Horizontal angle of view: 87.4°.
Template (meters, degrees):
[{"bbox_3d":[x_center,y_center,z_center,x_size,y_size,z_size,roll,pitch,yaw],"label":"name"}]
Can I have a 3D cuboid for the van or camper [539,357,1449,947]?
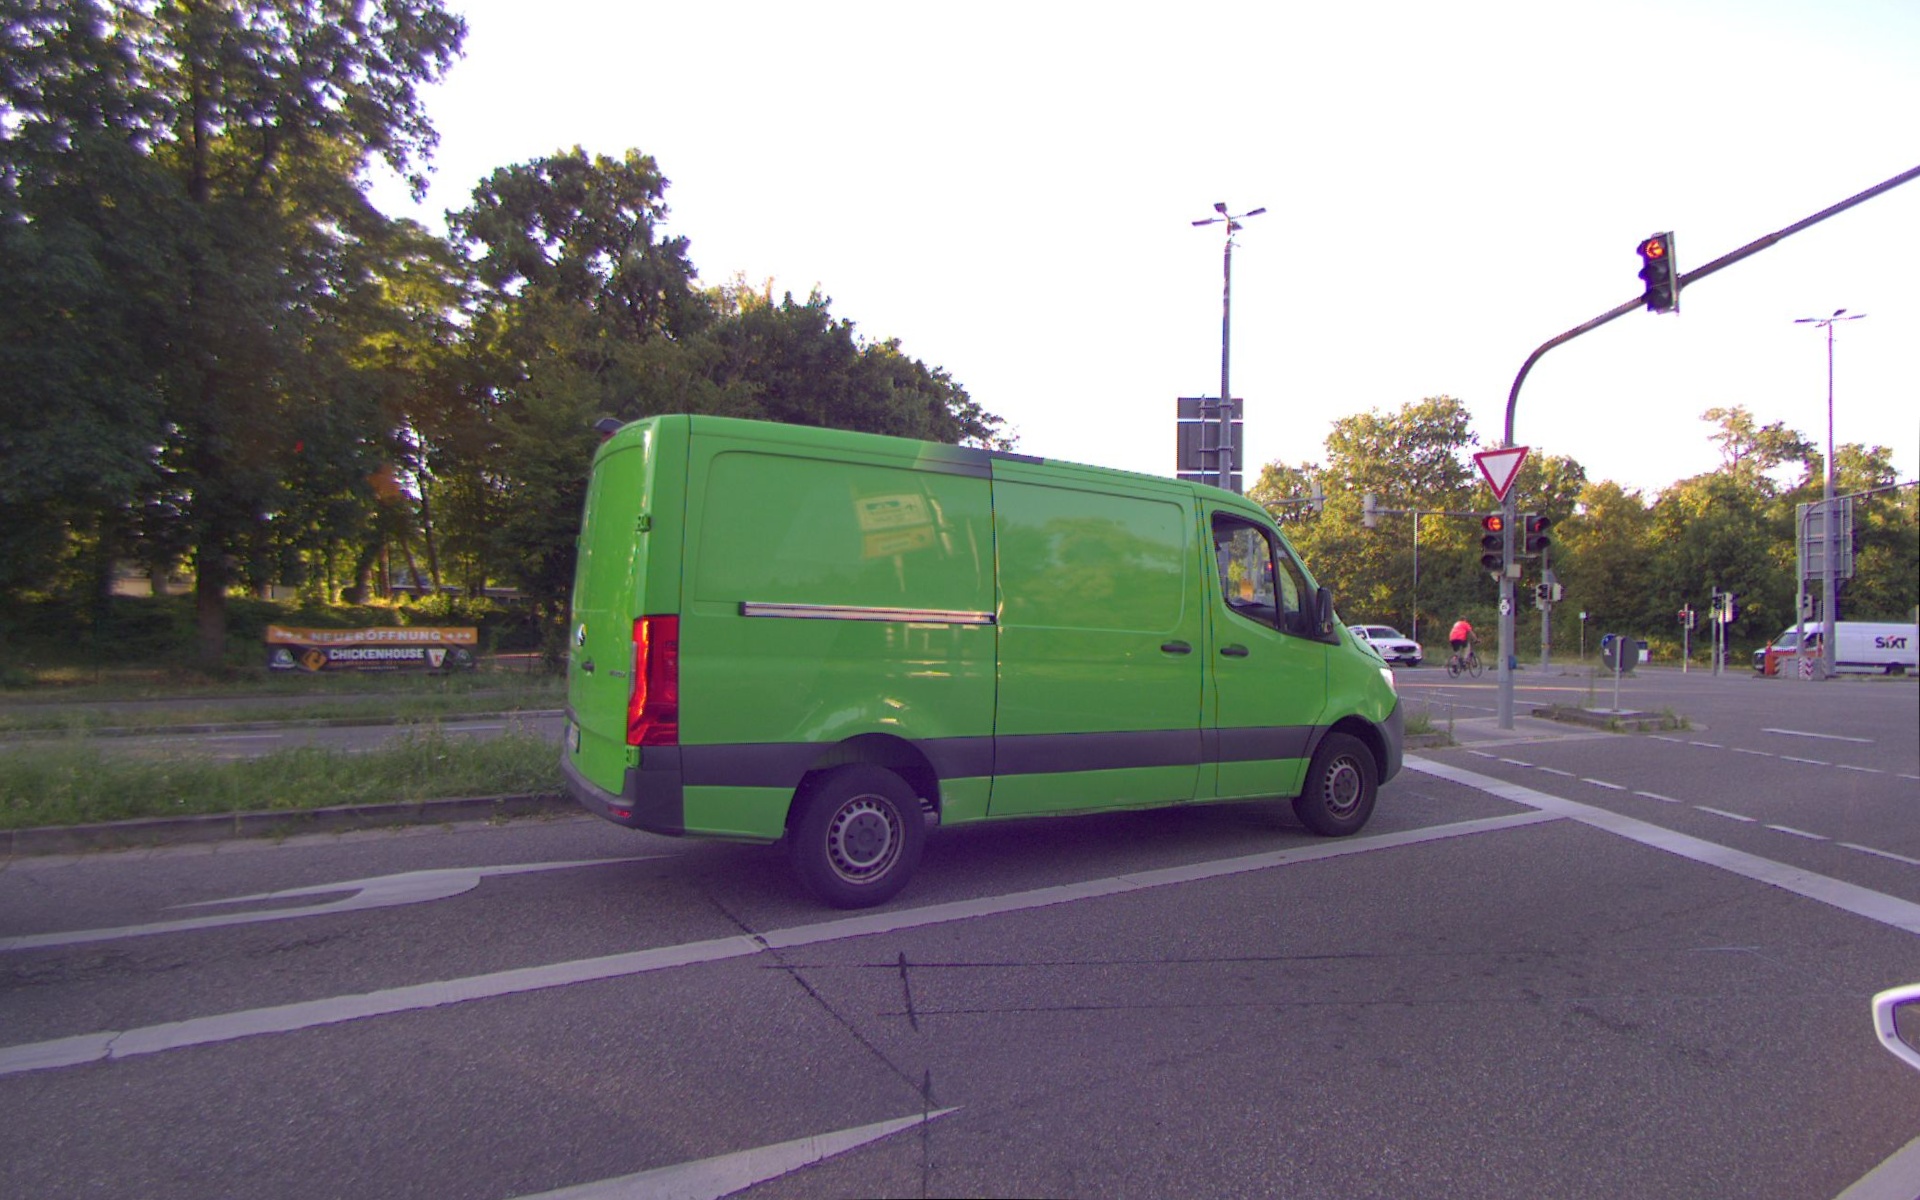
[{"bbox_3d":[0.542,0.294,6.567,5.830,2.453,1.983,2,-1,-32],"label":"van or camper"}]

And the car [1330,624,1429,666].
[{"bbox_3d":[17.501,1.854,42.106,1.963,1.661,4.252,1,-1,-8],"label":"car"}]

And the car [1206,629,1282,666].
[{"bbox_3d":[13.504,2.232,48.048,1.963,1.661,4.252,1,-1,-8],"label":"car"}]

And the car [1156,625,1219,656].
[{"bbox_3d":[12.692,2.223,56.201,1.964,1.661,4.250,1,-1,-10],"label":"car"}]

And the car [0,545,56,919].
[{"bbox_3d":[-5.604,0.511,3.017,3.956,1.572,1.983,2,-1,-32],"label":"car"}]

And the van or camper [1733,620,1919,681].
[{"bbox_3d":[41.483,2.372,47.867,6.978,2.687,2.896,1,-1,4],"label":"van or camper"}]

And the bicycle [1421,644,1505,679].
[{"bbox_3d":[15.746,1.911,31.417,2.608,1.044,0.765,1,-1,-19],"label":"bicycle"}]

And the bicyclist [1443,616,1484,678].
[{"bbox_3d":[15.754,1.475,31.420,0.965,1.904,0.674,1,-1,-19],"label":"bicyclist"}]

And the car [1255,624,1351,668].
[{"bbox_3d":[13.814,1.820,40.699,1.963,1.661,4.252,1,-1,-8],"label":"car"}]
